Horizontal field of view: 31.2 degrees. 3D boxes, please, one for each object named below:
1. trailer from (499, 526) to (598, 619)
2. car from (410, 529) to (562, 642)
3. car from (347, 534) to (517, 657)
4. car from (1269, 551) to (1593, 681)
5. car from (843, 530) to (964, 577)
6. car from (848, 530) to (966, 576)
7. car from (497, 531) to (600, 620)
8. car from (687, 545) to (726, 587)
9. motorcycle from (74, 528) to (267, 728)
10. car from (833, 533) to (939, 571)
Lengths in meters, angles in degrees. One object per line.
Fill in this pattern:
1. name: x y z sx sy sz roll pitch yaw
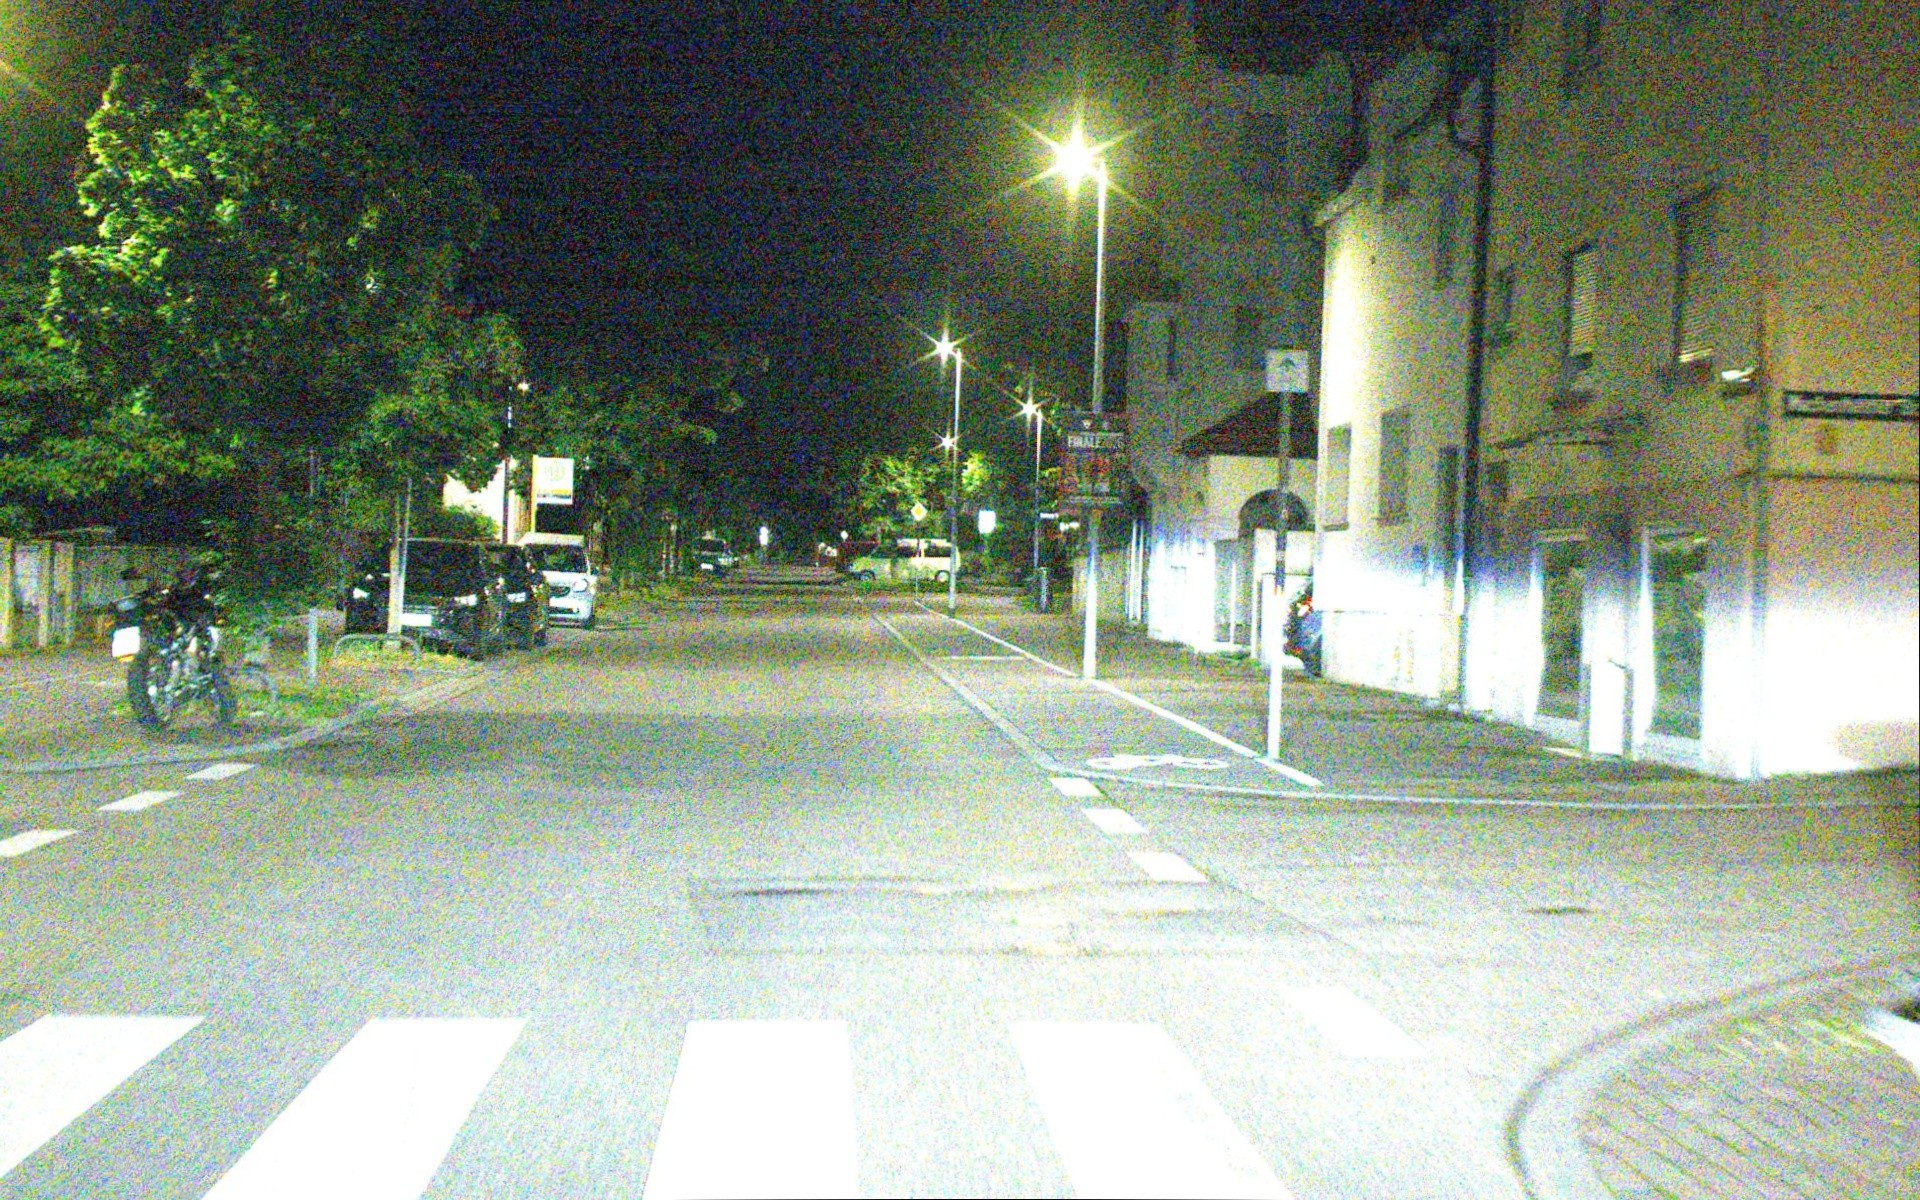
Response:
1. trailer: -8.056 -0.553 67.488 1.448 1.682 3.426 4 1 0
2. car: -6.891 -0.235 50.309 1.766 1.514 4.279 2 1 -3
3. car: -6.877 -0.090 45.127 1.688 1.505 4.279 1 1 -2
4. car: 5.728 0.185 42.116 3.711 1.468 1.730 1 0 1
5. car: -2.497 -2.036 150.813 5.181 2.007 2.102 0 1 -4
6. car: -2.372 -2.113 153.884 5.181 2.007 2.102 0 1 -4
7. car: -7.679 -0.477 64.306 1.671 1.517 2.979 4 1 -4
8. car: -12.829 -1.709 174.184 1.824 1.980 4.466 3 0 -4
9. motorcycle: -6.003 0.192 26.263 0.746 1.447 2.195 1 1 6
10. car: -3.772 -2.462 175.553 5.184 1.880 2.101 0 1 7
